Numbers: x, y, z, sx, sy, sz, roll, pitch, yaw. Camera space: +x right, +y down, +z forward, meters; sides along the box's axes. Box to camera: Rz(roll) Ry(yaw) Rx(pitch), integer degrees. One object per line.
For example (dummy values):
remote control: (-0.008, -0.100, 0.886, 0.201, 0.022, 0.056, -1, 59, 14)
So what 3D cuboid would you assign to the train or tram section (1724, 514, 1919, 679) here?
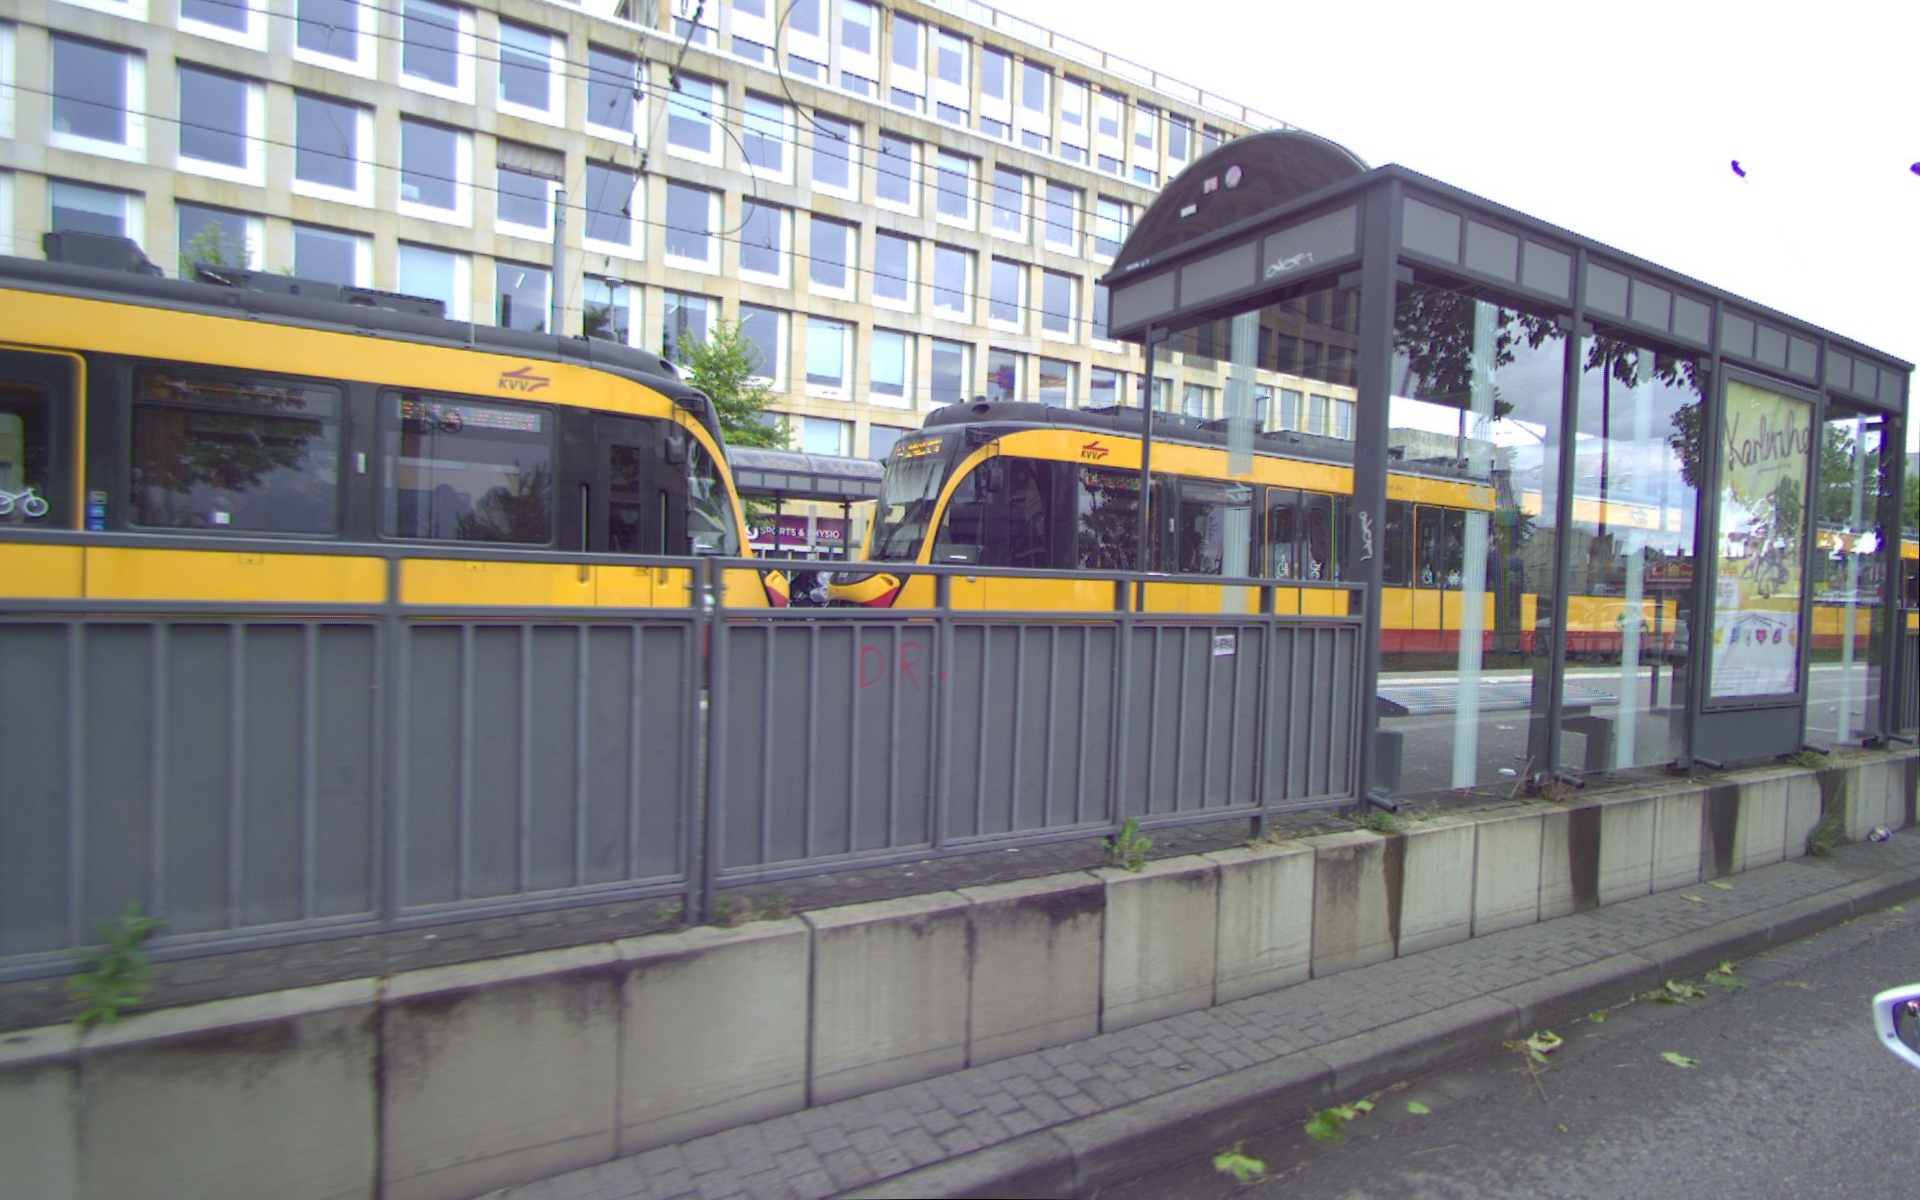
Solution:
train or tram section: (28.761, 0.106, 30.814, 14.564, 4.234, 3.164, 2, 1, -31)

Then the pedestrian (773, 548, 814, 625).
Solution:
pedestrian: (-2.947, -0.236, 17.739, 0.504, 1.318, 0.581, 2, 1, -29)

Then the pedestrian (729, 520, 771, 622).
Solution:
pedestrian: (-3.602, -0.494, 17.209, 0.504, 1.693, 0.581, 2, 1, -29)

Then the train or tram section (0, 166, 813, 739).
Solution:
train or tram section: (-8.202, -1.132, 8.640, 13.463, 4.234, 3.164, 2, 1, -31)

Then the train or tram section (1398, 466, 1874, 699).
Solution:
train or tram section: (16.284, -0.127, 23.366, 14.564, 4.234, 3.164, 2, 1, -31)

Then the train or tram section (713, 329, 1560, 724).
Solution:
train or tram section: (3.774, -0.594, 15.873, 14.564, 4.234, 3.164, 2, 1, -31)
